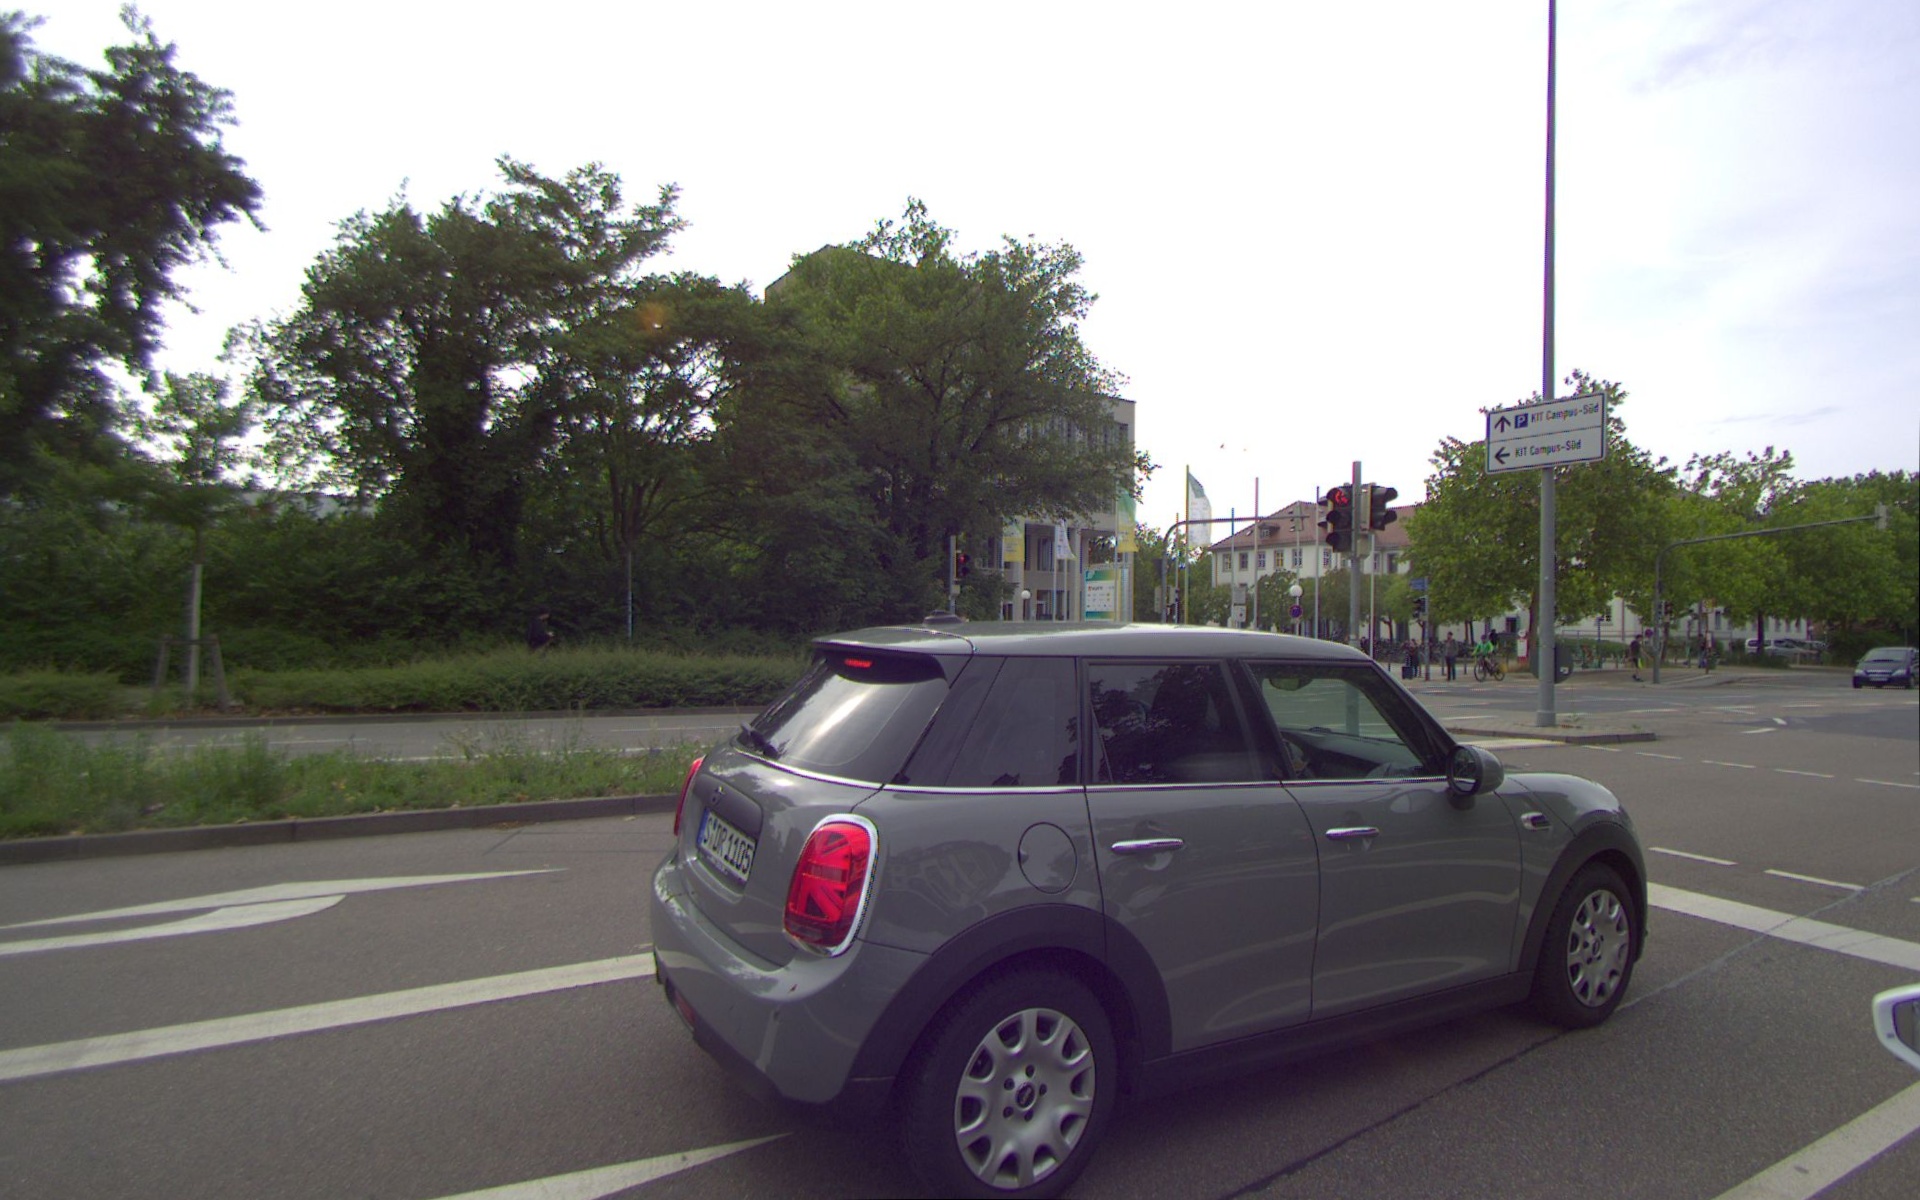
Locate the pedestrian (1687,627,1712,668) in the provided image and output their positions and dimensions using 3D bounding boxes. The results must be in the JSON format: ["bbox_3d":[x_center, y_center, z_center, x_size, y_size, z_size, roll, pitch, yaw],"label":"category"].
[{"bbox_3d":[37.711,2.401,51.226,0.919,2.040,0.795,2,0,-40],"label":"pedestrian"}]

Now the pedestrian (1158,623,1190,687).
[{"bbox_3d":[7.153,1.814,33.560,0.844,2.086,0.662,1,-1,-34],"label":"pedestrian"}]

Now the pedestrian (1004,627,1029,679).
[{"bbox_3d":[1.799,1.678,31.933,0.598,1.628,0.497,2,-1,-42],"label":"pedestrian"}]

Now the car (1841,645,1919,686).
[{"bbox_3d":[35.753,2.477,38.554,3.654,1.483,1.844,2,-2,-30],"label":"car"}]

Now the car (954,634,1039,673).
[{"bbox_3d":[1.503,2.250,42.637,1.844,1.469,3.562,2,-1,-34],"label":"car"}]

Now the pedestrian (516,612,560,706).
[{"bbox_3d":[-7.945,1.096,18.895,0.645,1.717,0.586,2,0,-31],"label":"pedestrian"}]

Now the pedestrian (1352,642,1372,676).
[{"bbox_3d":[17.823,2.591,44.566,0.687,1.447,0.999,2,0,28],"label":"pedestrian"}]

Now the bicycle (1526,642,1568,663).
[{"bbox_3d":[33.670,3.003,57.656,2.005,1.168,0.718,-1,-2,39],"label":"bicycle"}]

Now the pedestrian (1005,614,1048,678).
[{"bbox_3d":[2.193,1.487,32.901,1.022,2.040,1.099,2,0,25],"label":"pedestrian"}]

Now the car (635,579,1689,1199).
[{"bbox_3d":[0.865,0.694,3.688,3.662,1.335,1.613,2,-2,-30],"label":"car"}]

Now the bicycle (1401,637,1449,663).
[{"bbox_3d":[29.036,3.103,62.781,0.774,1.579,2.637,2,-2,-39],"label":"bicycle"}]

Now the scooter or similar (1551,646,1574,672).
[{"bbox_3d":[26.752,2.621,44.580,1.306,1.155,0.358,2,-2,-34],"label":"scooter or similar"}]

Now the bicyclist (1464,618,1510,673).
[{"bbox_3d":[20.259,1.747,38.616,1.273,2.040,1.168,2,0,-44],"label":"bicyclist"}]

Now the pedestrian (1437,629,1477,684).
[{"bbox_3d":[19.034,2.140,38.475,1.165,2.040,1.138,2,0,37],"label":"pedestrian"}]

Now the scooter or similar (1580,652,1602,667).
[{"bbox_3d":[30.940,2.893,49.243,1.274,0.703,0.404,2,0,-31],"label":"scooter or similar"}]

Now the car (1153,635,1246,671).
[{"bbox_3d":[11.448,2.515,48.186,1.982,1.491,3.958,2,0,-37],"label":"car"}]

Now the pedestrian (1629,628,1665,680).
[{"bbox_3d":[27.593,2.170,40.355,1.000,2.040,0.888,2,-2,-36],"label":"pedestrian"}]

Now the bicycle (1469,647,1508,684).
[{"bbox_3d":[20.297,2.494,38.563,2.295,1.351,0.599,2,0,-44],"label":"bicycle"}]

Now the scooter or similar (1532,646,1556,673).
[{"bbox_3d":[25.413,2.576,43.697,1.306,1.155,0.358,2,-2,-34],"label":"scooter or similar"}]

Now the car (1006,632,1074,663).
[{"bbox_3d":[4.602,2.737,58.212,1.835,1.706,3.961,2,-2,-35],"label":"car"}]

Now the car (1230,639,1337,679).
[{"bbox_3d":[14.192,2.544,44.281,1.982,1.491,4.111,2,0,-37],"label":"car"}]

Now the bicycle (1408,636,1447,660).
[{"bbox_3d":[32.157,3.294,69.118,0.907,1.579,2.658,1,-2,-16],"label":"bicycle"}]

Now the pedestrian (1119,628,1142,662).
[{"bbox_3d":[10.524,2.754,61.926,1.007,2.040,0.996,2,-2,-34],"label":"pedestrian"}]

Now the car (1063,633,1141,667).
[{"bbox_3d":[7.573,2.666,53.990,1.980,1.601,3.961,2,0,-35],"label":"car"}]

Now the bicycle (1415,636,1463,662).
[{"bbox_3d":[30.516,3.120,63.973,0.916,1.579,2.633,2,-2,-43],"label":"bicycle"}]

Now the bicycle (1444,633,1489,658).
[{"bbox_3d":[32.935,2.967,65.342,0.916,1.579,2.421,2,-2,-44],"label":"bicycle"}]

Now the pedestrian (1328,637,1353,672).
[{"bbox_3d":[17.068,2.429,45.054,0.812,1.533,0.971,2,0,37],"label":"pedestrian"}]

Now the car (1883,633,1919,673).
[{"bbox_3d":[40.839,2.217,42.079,3.949,1.641,1.986,2,-2,-28],"label":"car"}]

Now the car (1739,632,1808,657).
[{"bbox_3d":[58.717,3.165,72.516,1.636,1.623,3.561,2,0,-35],"label":"car"}]
